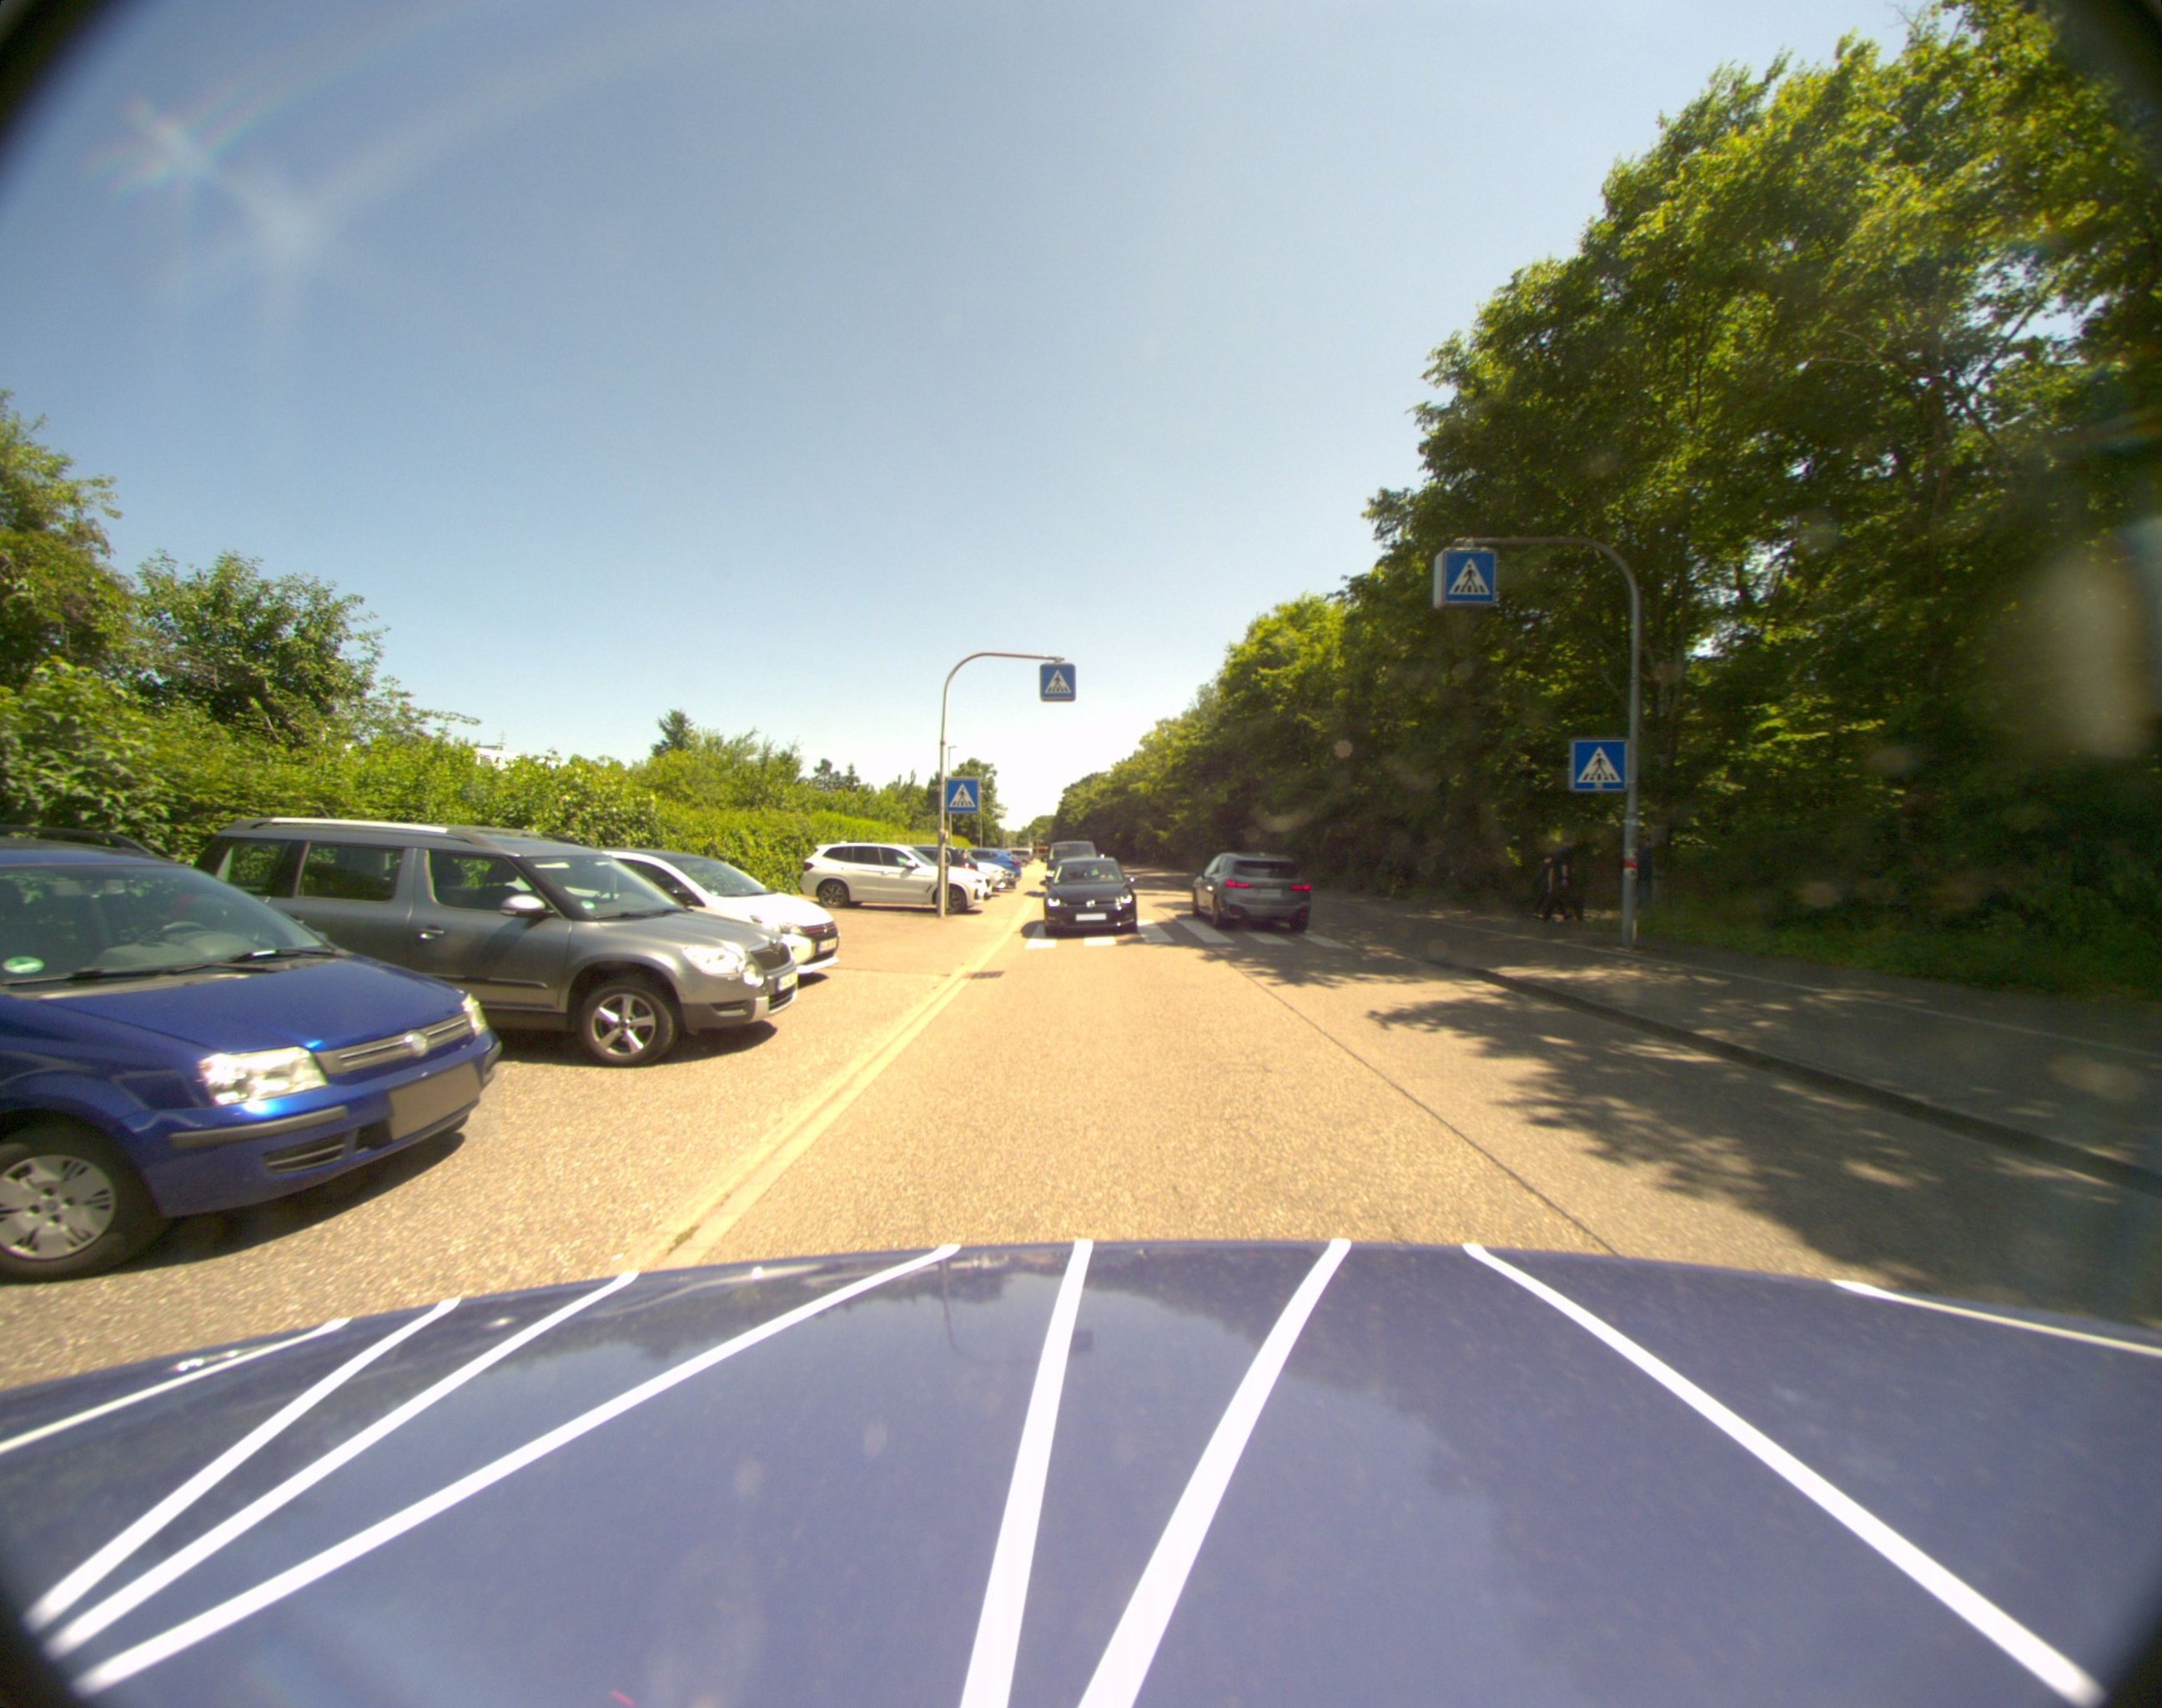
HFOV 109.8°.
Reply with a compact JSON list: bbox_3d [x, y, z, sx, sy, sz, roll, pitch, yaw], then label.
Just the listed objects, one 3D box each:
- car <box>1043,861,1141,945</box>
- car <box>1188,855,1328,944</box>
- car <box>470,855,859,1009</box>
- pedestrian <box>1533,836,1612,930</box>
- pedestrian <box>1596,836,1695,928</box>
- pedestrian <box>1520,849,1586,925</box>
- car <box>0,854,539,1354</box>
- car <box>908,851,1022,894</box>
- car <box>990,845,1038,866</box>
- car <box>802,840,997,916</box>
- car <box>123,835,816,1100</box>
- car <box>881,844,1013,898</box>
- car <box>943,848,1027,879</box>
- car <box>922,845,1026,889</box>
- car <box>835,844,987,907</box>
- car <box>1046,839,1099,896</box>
[{"bbox_3d":[0.144,0.906,15.954,1.743,1.396,4.387,-1,1,-1],"label":"car"},{"bbox_3d":[3.616,0.856,16.324,1.896,1.523,4.196,3,0,-1],"label":"car"},{"bbox_3d":[-4.770,0.830,9.004,3.697,1.442,1.610,3,0,4],"label":"car"},{"bbox_3d":[9.993,0.572,15.464,1.086,1.854,0.783,0,1,-7],"label":"pedestrian"},{"bbox_3d":[11.182,0.544,15.096,1.158,1.741,1.023,-1,-1,-3],"label":"pedestrian"},{"bbox_3d":[10.129,0.687,16.320,0.896,1.602,0.780,0,1,-7],"label":"pedestrian"},{"bbox_3d":[-4.595,0.811,3.153,3.462,1.518,1.539,3,0,-5],"label":"car"},{"bbox_3d":[-4.330,0.687,28.851,4.037,1.401,1.679,2,1,-2],"label":"car"},{"bbox_3d":[-6.549,0.133,74.408,4.493,1.840,1.694,2,1,-5],"label":"car"},{"bbox_3d":[-4.503,0.571,19.320,4.464,1.720,1.850,2,2,1],"label":"car"},{"bbox_3d":[-4.399,0.791,6.007,3.971,1.631,1.663,3,0,-4],"label":"car"},{"bbox_3d":[-4.487,0.558,25.945,4.170,1.632,1.775,2,1,-3],"label":"car"},{"bbox_3d":[-5.114,0.499,40.802,4.252,1.410,1.649,2,1,-1],"label":"car"},{"bbox_3d":[-4.413,0.508,31.758,4.036,1.632,1.673,2,1,-1],"label":"car"},{"bbox_3d":[-4.821,0.592,21.975,3.983,1.676,1.766,1,1,-1],"label":"car"},{"bbox_3d":[-0.356,0.442,27.878,1.743,1.905,4.387,-1,1,-1],"label":"car"}]
